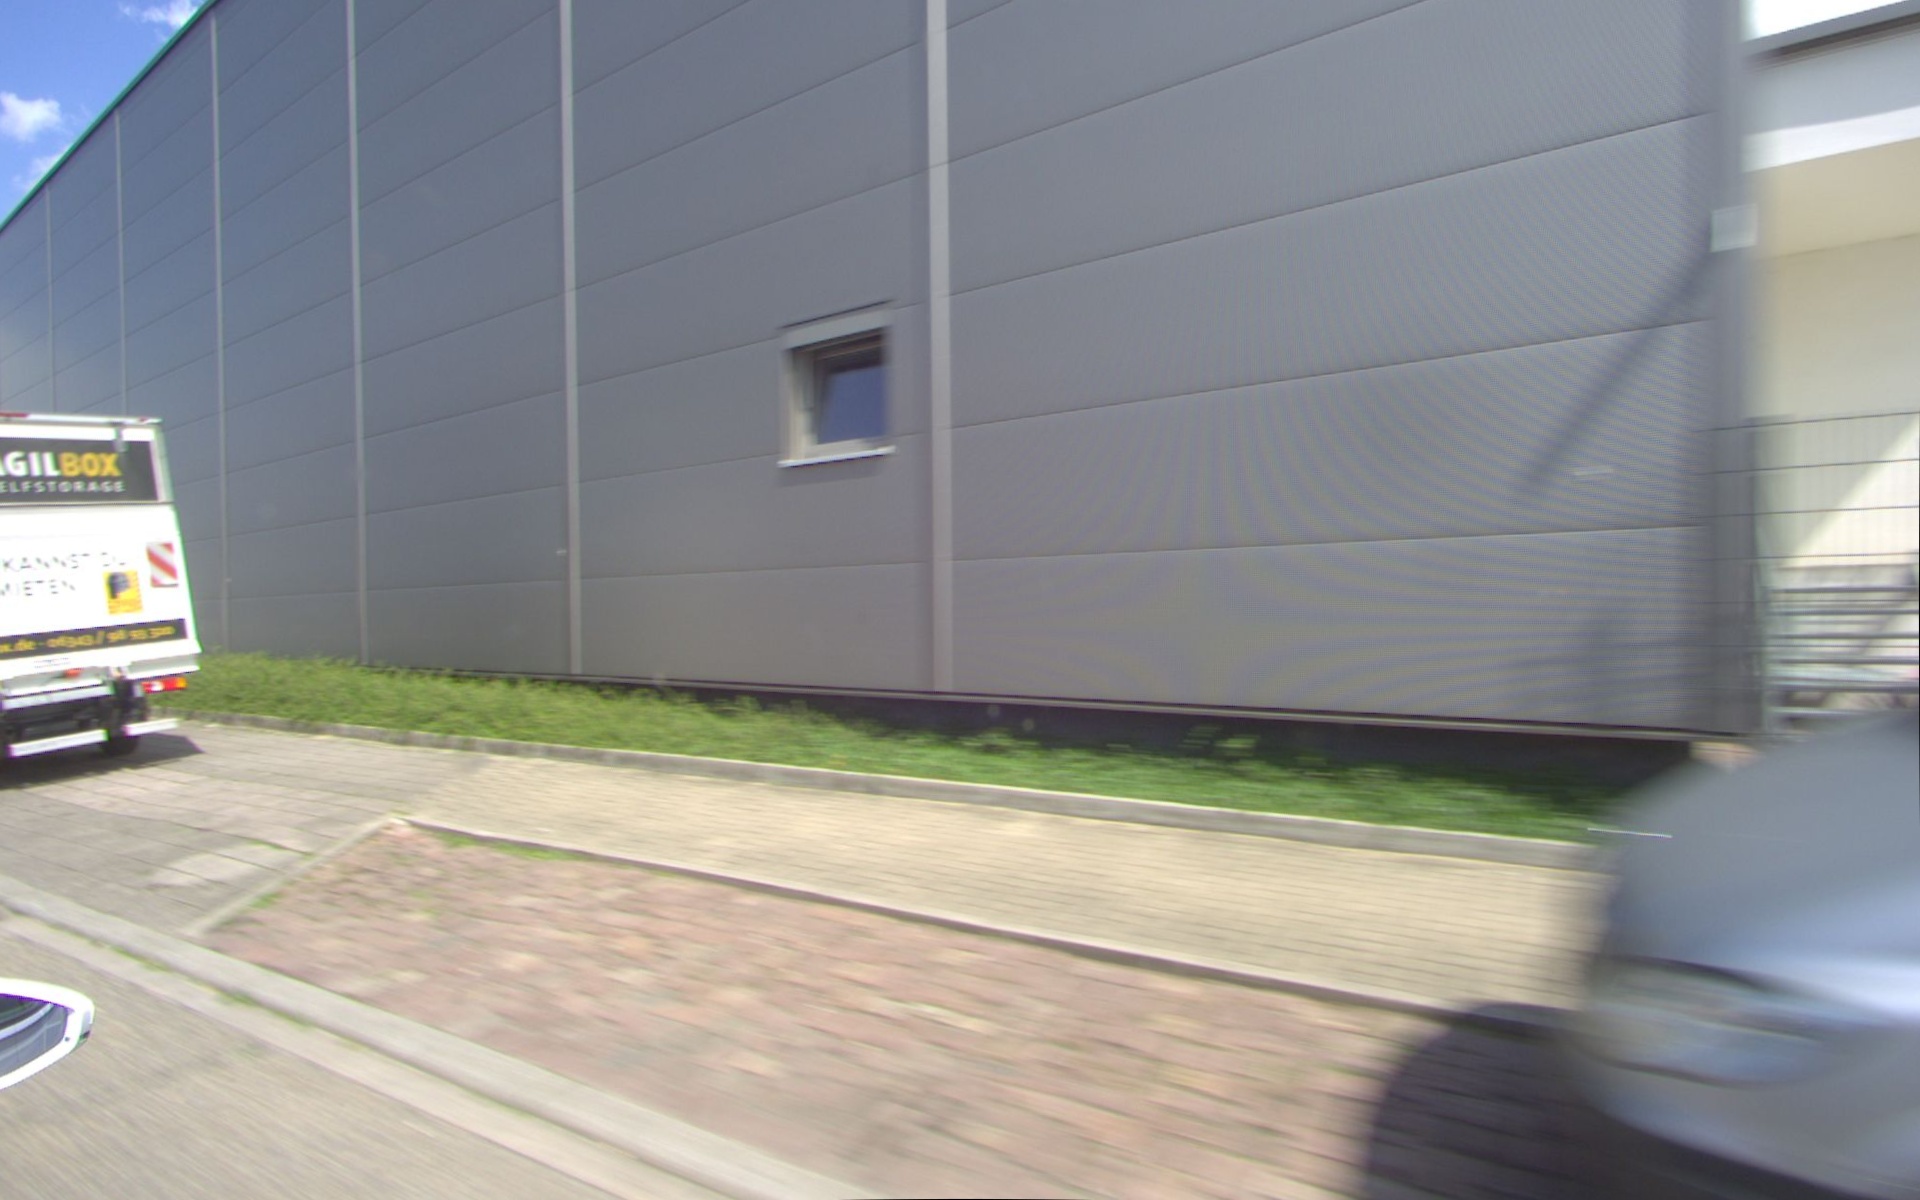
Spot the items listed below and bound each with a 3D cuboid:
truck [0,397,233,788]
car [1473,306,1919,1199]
[{"bbox_3d":[-10.843,-0.036,10.726,6.722,3.340,2.450,-1,4,33],"label":"truck"},{"bbox_3d":[3.536,0.515,1.142,5.075,1.929,2.048,-1,1,34],"label":"car"}]
